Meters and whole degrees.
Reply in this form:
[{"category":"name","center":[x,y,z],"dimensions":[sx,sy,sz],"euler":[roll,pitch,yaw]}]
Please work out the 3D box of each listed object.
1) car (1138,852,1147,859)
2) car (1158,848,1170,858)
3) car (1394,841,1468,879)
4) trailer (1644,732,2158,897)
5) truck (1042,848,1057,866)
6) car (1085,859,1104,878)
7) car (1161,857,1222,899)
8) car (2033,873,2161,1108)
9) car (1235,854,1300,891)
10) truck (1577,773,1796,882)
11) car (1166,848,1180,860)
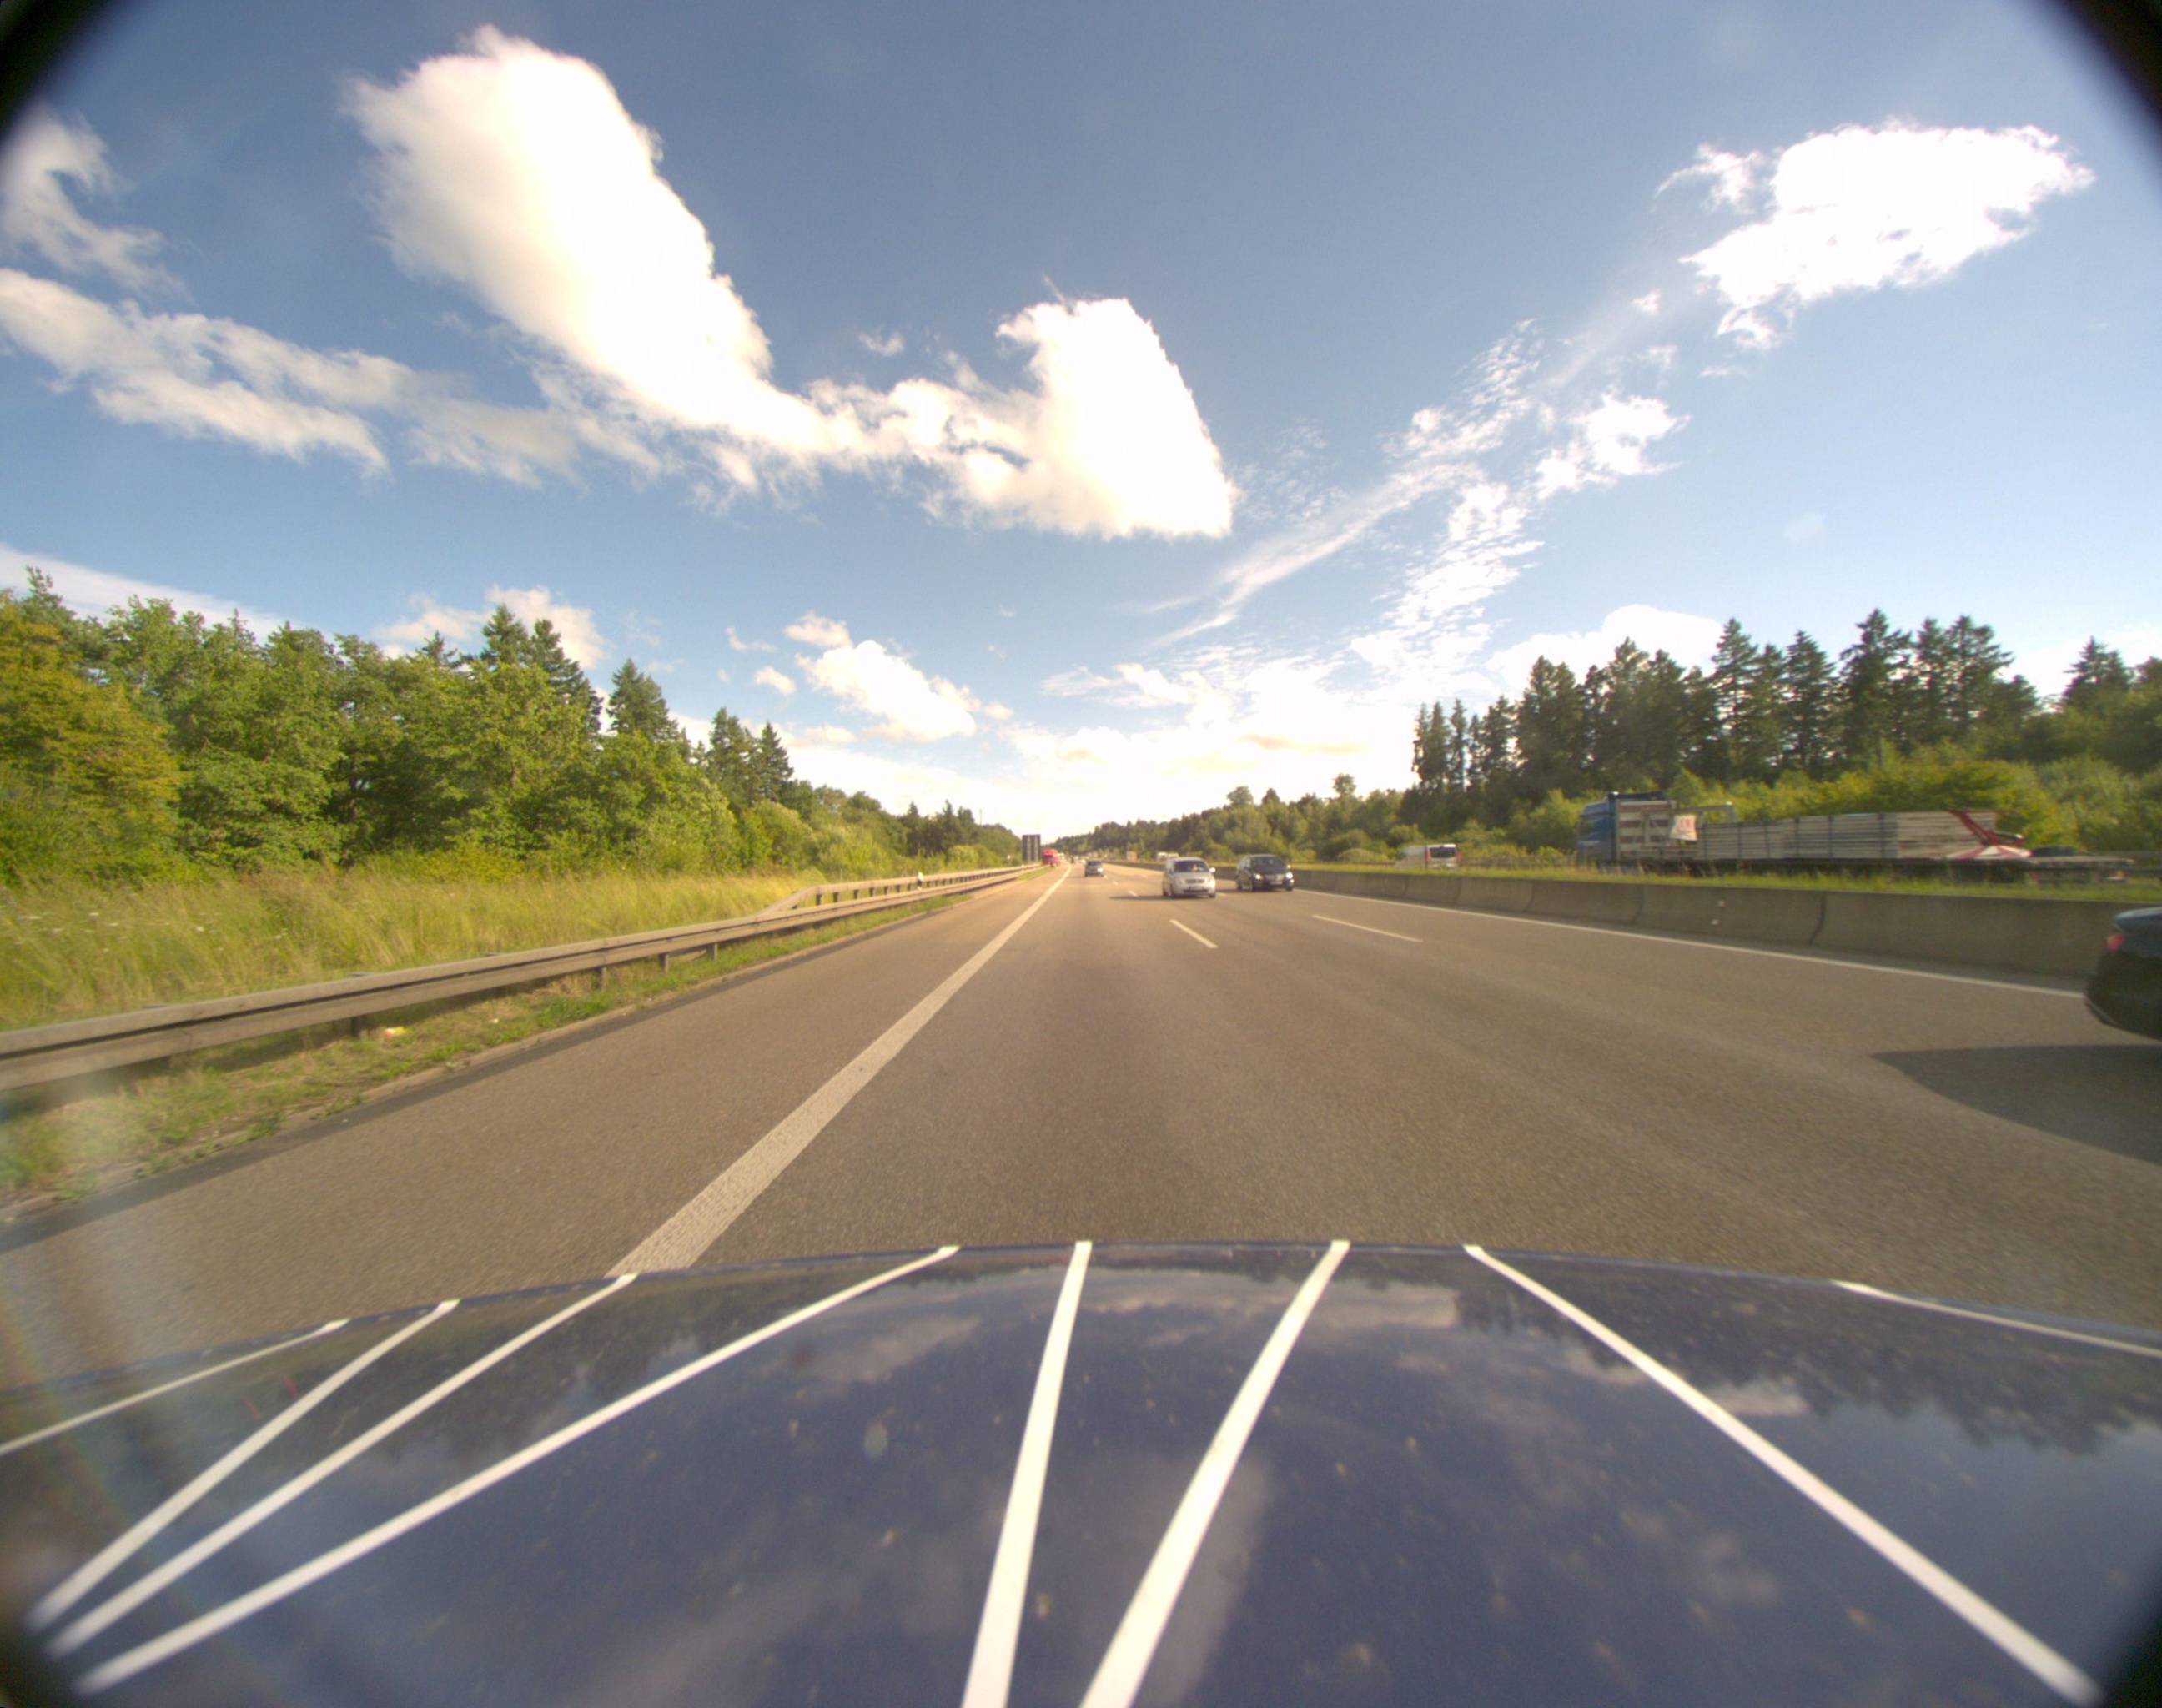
[{"category":"car","center":[18.533,0.557,228.664],"dimensions":[2.325,2.024,5.031],"euler":[-1,0,0]},{"category":"car","center":[22.739,-0.332,207.490],"dimensions":[2.550,2.461,5.845],"euler":[-4,0,0]},{"category":"car","center":[19.635,0.323,42.912],"dimensions":[1.998,2.002,4.859],"euler":[-2,0,1]},{"category":"trailer","center":[23.889,-0.922,24.047],"dimensions":[3.132,3.815,12.209],"euler":[-2,0,0]},{"category":"truck","center":[-7.334,0.645,176.700],"dimensions":[2.880,3.871,8.958],"euler":[-2,0,0]},{"category":"car","center":[1.261,1.310,70.872],"dimensions":[1.742,1.608,4.083],"euler":[-2,0,1]},{"category":"car","center":[4.329,0.912,30.412],"dimensions":[1.840,1.508,4.333],"euler":[-2,0,1]},{"category":"car","center":[7.575,0.837,2.894],"dimensions":[1.861,1.423,4.841],"euler":[-2,0,1]},{"category":"car","center":[8.204,0.764,33.728],"dimensions":[1.840,1.508,4.333],"euler":[-2,0,1]},{"category":"truck","center":[23.948,-0.928,30.690],"dimensions":[3.122,3.815,7.123],"euler":[-2,0,0]},{"category":"car","center":[18.814,0.057,154.886],"dimensions":[2.102,2.262,5.446],"euler":[-4,0,0]}]
